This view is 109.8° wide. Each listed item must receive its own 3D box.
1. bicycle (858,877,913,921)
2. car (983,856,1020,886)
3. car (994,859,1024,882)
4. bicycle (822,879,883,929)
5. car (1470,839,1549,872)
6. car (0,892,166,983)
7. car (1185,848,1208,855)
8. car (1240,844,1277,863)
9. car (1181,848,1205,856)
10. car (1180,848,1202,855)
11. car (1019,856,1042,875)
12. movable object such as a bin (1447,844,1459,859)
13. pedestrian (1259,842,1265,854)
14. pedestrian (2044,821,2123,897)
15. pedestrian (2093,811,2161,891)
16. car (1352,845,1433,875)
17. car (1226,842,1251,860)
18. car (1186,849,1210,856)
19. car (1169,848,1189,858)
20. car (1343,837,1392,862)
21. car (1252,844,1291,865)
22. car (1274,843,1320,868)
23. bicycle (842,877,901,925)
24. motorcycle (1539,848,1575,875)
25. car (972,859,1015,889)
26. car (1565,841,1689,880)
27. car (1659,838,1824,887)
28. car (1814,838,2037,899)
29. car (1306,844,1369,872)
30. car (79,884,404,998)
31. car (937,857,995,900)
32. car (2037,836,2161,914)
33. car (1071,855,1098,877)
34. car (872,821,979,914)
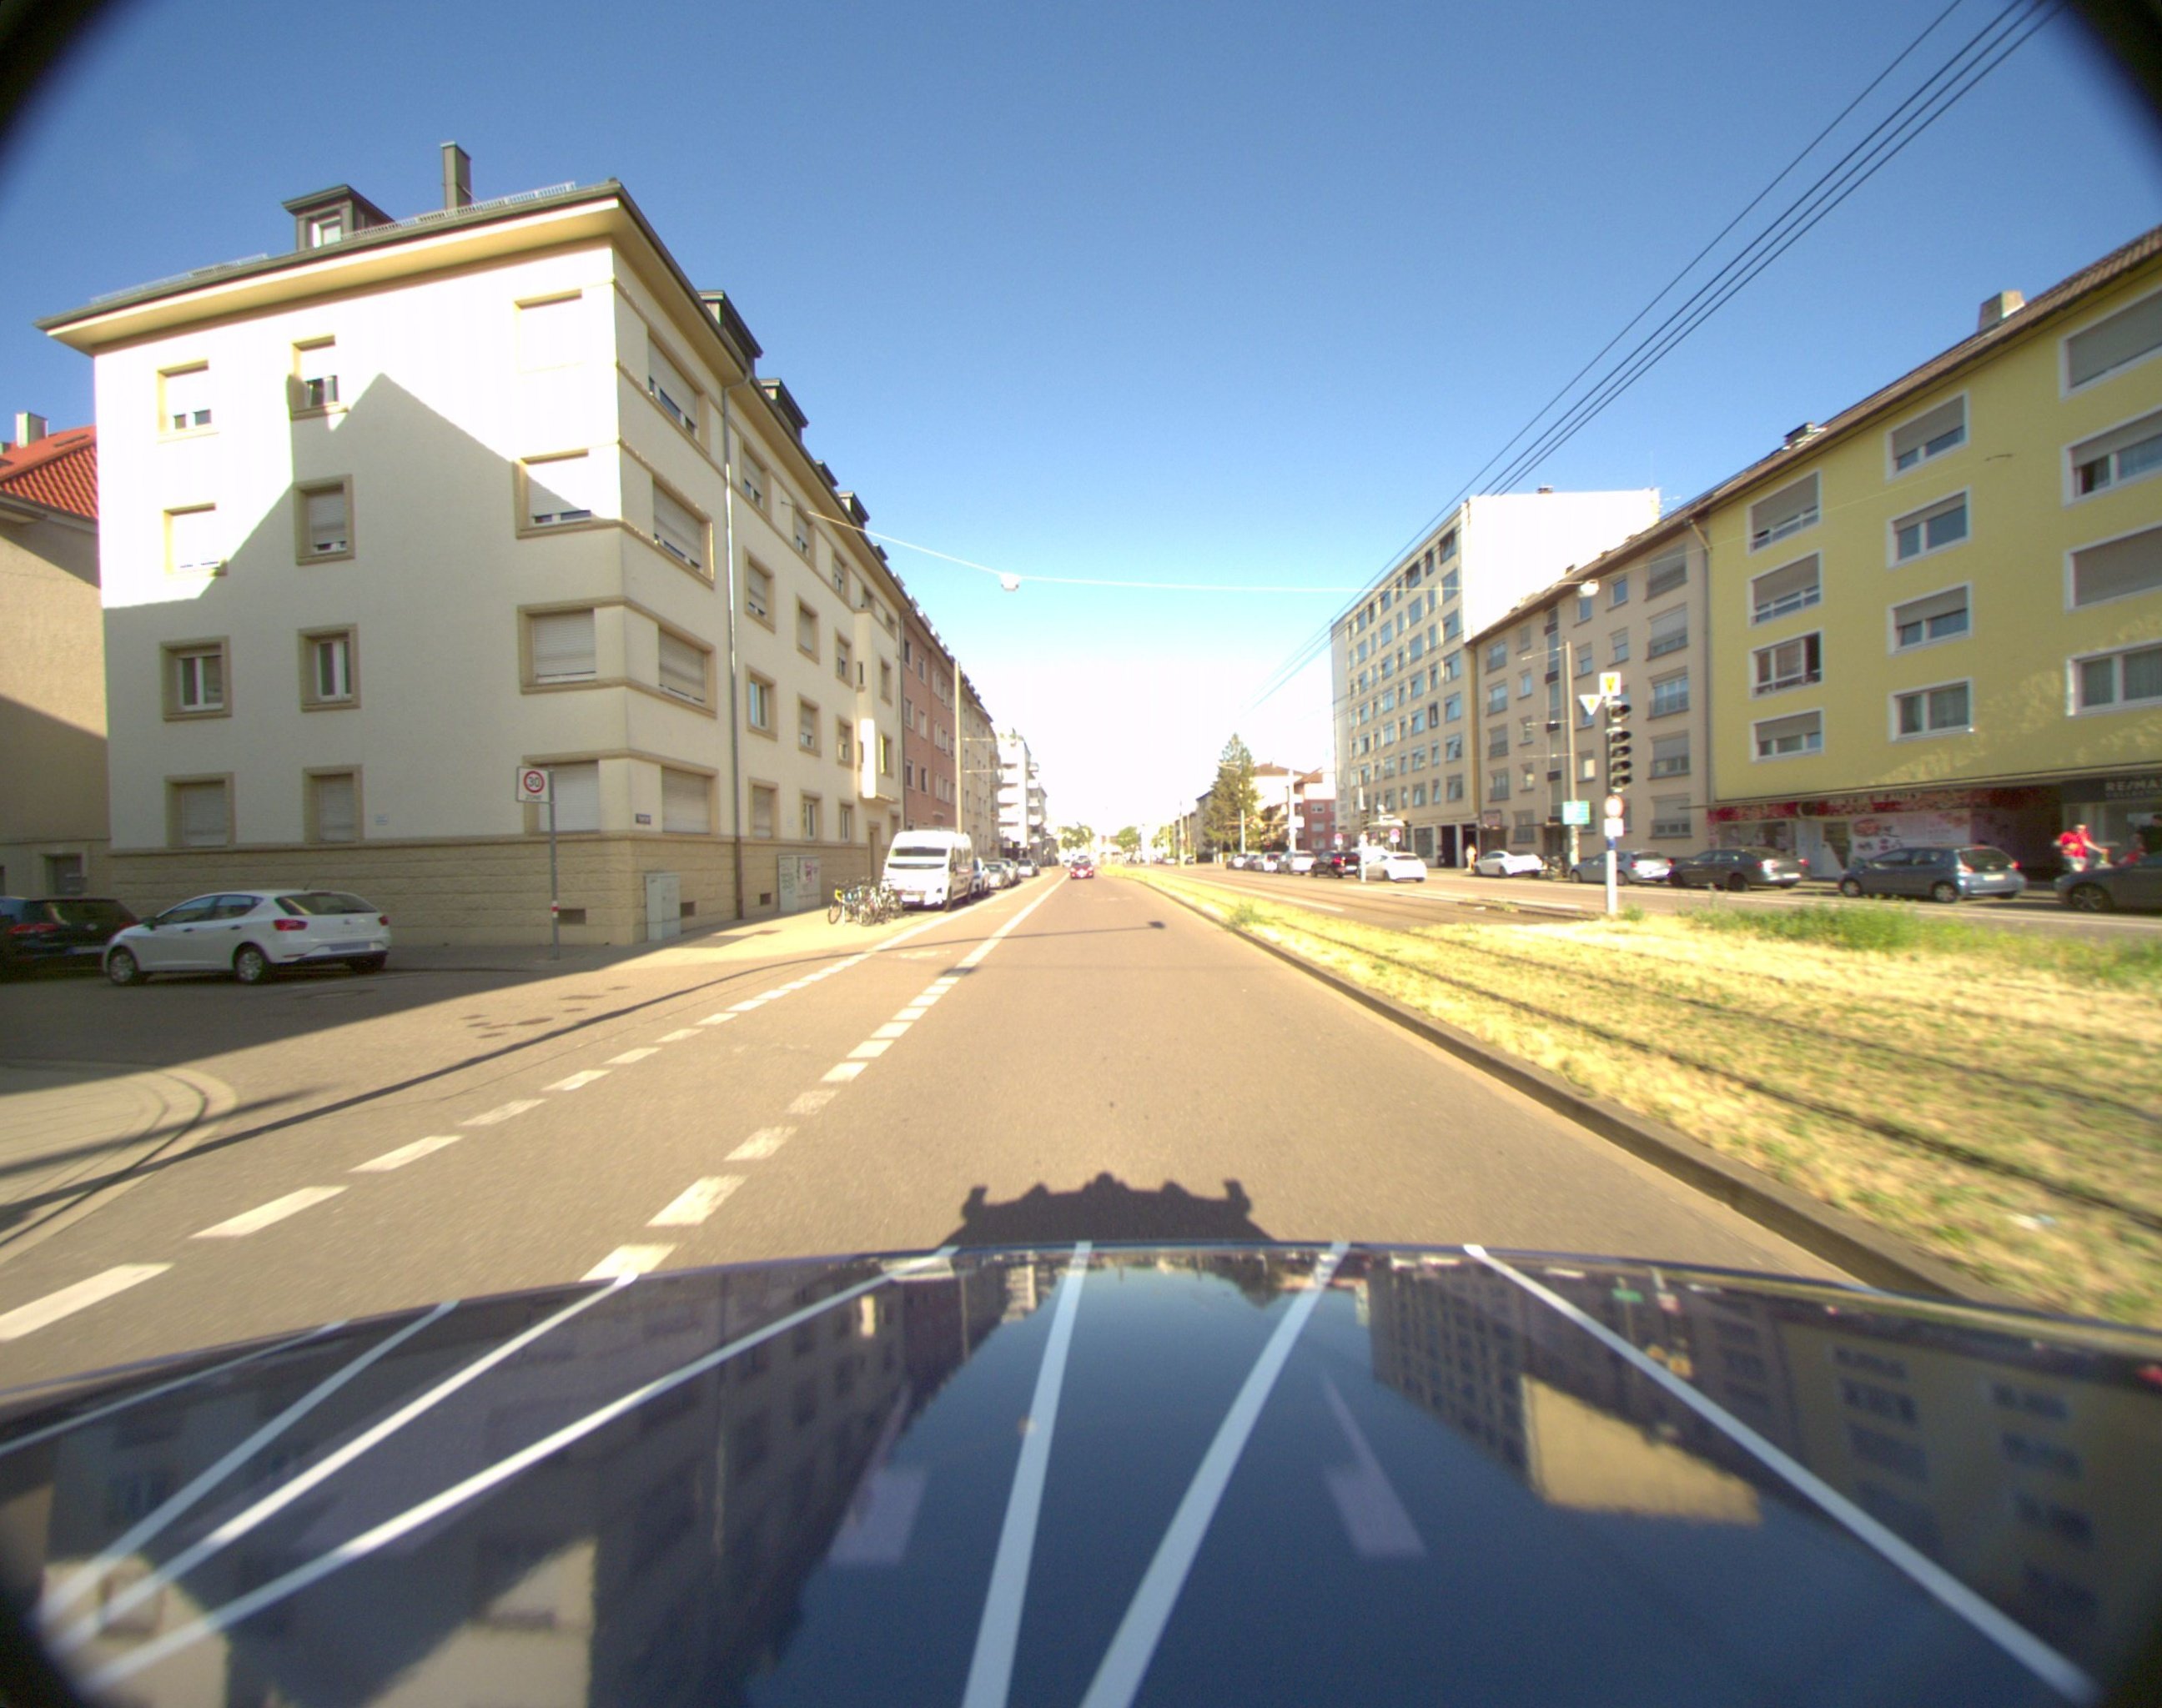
[{"bbox_3d":[-5.244,1.206,20.313,0.487,1.080,2.023,-5,0,-42],"label":"bicycle"},{"bbox_3d":[-4.677,0.963,45.464,1.806,1.687,4.490,1,0,-1],"label":"car"},{"bbox_3d":[-4.826,1.075,51.379,1.750,1.470,4.153,2,0,-1],"label":"car"},{"bbox_3d":[-5.424,1.159,17.985,1.912,1.080,0.475,0,-1,44],"label":"bicycle"},{"bbox_3d":[22.439,0.069,40.001,1.763,1.477,4.199,-4,0,1],"label":"car"},{"bbox_3d":[-18.692,1.497,13.272,3.966,1.330,1.714,-4,0,11],"label":"car"},{"bbox_3d":[21.738,-0.497,143.186,3.997,1.324,1.738,-1,0,0],"label":"car"},{"bbox_3d":[15.004,-0.041,64.386,1.999,1.541,4.366,0,0,-1],"label":"car"},{"bbox_3d":[19.687,-0.378,133.731,3.997,1.324,1.738,-1,0,0],"label":"car"},{"bbox_3d":[21.508,-0.421,148.833,3.997,1.324,1.738,-1,0,0],"label":"car"},{"bbox_3d":[-4.210,0.913,63.451,1.762,1.543,2.649,0,0,-1],"label":"car"},{"bbox_3d":[27.593,-0.174,56.343,0.545,1.045,0.775,-1,0,3],"label":"movable object such as a bin"},{"bbox_3d":[26.440,-0.887,110.771,0.615,1.596,0.510,-4,1,-1],"label":"pedestrian"},{"bbox_3d":[24.067,0.126,18.258,0.672,1.733,0.845,-4,1,1],"label":"pedestrian"},{"bbox_3d":[25.297,-0.075,18.242,0.672,1.849,0.924,-4,1,1],"label":"pedestrian"},{"bbox_3d":[15.102,0.278,37.143,1.839,1.377,4.413,-1,0,-5],"label":"car"},{"bbox_3d":[14.742,-0.273,71.283,1.617,1.550,4.000,0,0,0],"label":"car"},{"bbox_3d":[21.493,-0.264,139.713,3.997,1.324,1.738,-1,0,0],"label":"car"},{"bbox_3d":[16.033,-0.110,124.490,1.718,1.379,3.719,-4,0,32],"label":"car"},{"bbox_3d":[23.372,-0.364,62.195,1.999,1.887,4.669,-4,0,-1],"label":"car"},{"bbox_3d":[14.556,0.010,58.277,1.861,1.541,4.240,0,0,-1],"label":"car"},{"bbox_3d":[14.420,0.092,50.905,1.787,1.572,4.608,-1,0,0],"label":"car"},{"bbox_3d":[-5.329,1.175,19.249,1.912,1.081,0.474,0,5,44],"label":"bicycle"},{"bbox_3d":[22.439,0.341,35.803,2.115,1.132,0.486,-4,1,-32],"label":"motorcycle"},{"bbox_3d":[-4.594,1.033,40.373,1.625,1.452,4.055,1,0,2],"label":"car"},{"bbox_3d":[22.317,0.260,31.300,1.787,1.377,4.414,-4,0,-1],"label":"car"},{"bbox_3d":[22.435,0.275,26.098,1.787,1.412,4.415,-4,0,1],"label":"car"},{"bbox_3d":[22.556,0.361,20.550,1.787,1.377,3.768,-4,0,0],"label":"car"},{"bbox_3d":[14.671,0.215,43.716,1.788,1.519,4.413,-1,0,-4],"label":"car"},{"bbox_3d":[-13.233,1.348,12.073,3.735,1.416,1.714,-4,0,11],"label":"car"},{"bbox_3d":[-4.764,0.973,32.054,1.852,1.627,4.574,-1,0,-1],"label":"car"},{"bbox_3d":[22.300,0.403,14.703,1.787,1.465,4.596,-4,0,1],"label":"car"},{"bbox_3d":[0.277,0.823,53.523,1.862,1.461,3.809,-1,0,1],"label":"car"},{"bbox_3d":[-4.908,0.391,25.089,2.156,2.680,6.292,0,0,1],"label":"car"}]
